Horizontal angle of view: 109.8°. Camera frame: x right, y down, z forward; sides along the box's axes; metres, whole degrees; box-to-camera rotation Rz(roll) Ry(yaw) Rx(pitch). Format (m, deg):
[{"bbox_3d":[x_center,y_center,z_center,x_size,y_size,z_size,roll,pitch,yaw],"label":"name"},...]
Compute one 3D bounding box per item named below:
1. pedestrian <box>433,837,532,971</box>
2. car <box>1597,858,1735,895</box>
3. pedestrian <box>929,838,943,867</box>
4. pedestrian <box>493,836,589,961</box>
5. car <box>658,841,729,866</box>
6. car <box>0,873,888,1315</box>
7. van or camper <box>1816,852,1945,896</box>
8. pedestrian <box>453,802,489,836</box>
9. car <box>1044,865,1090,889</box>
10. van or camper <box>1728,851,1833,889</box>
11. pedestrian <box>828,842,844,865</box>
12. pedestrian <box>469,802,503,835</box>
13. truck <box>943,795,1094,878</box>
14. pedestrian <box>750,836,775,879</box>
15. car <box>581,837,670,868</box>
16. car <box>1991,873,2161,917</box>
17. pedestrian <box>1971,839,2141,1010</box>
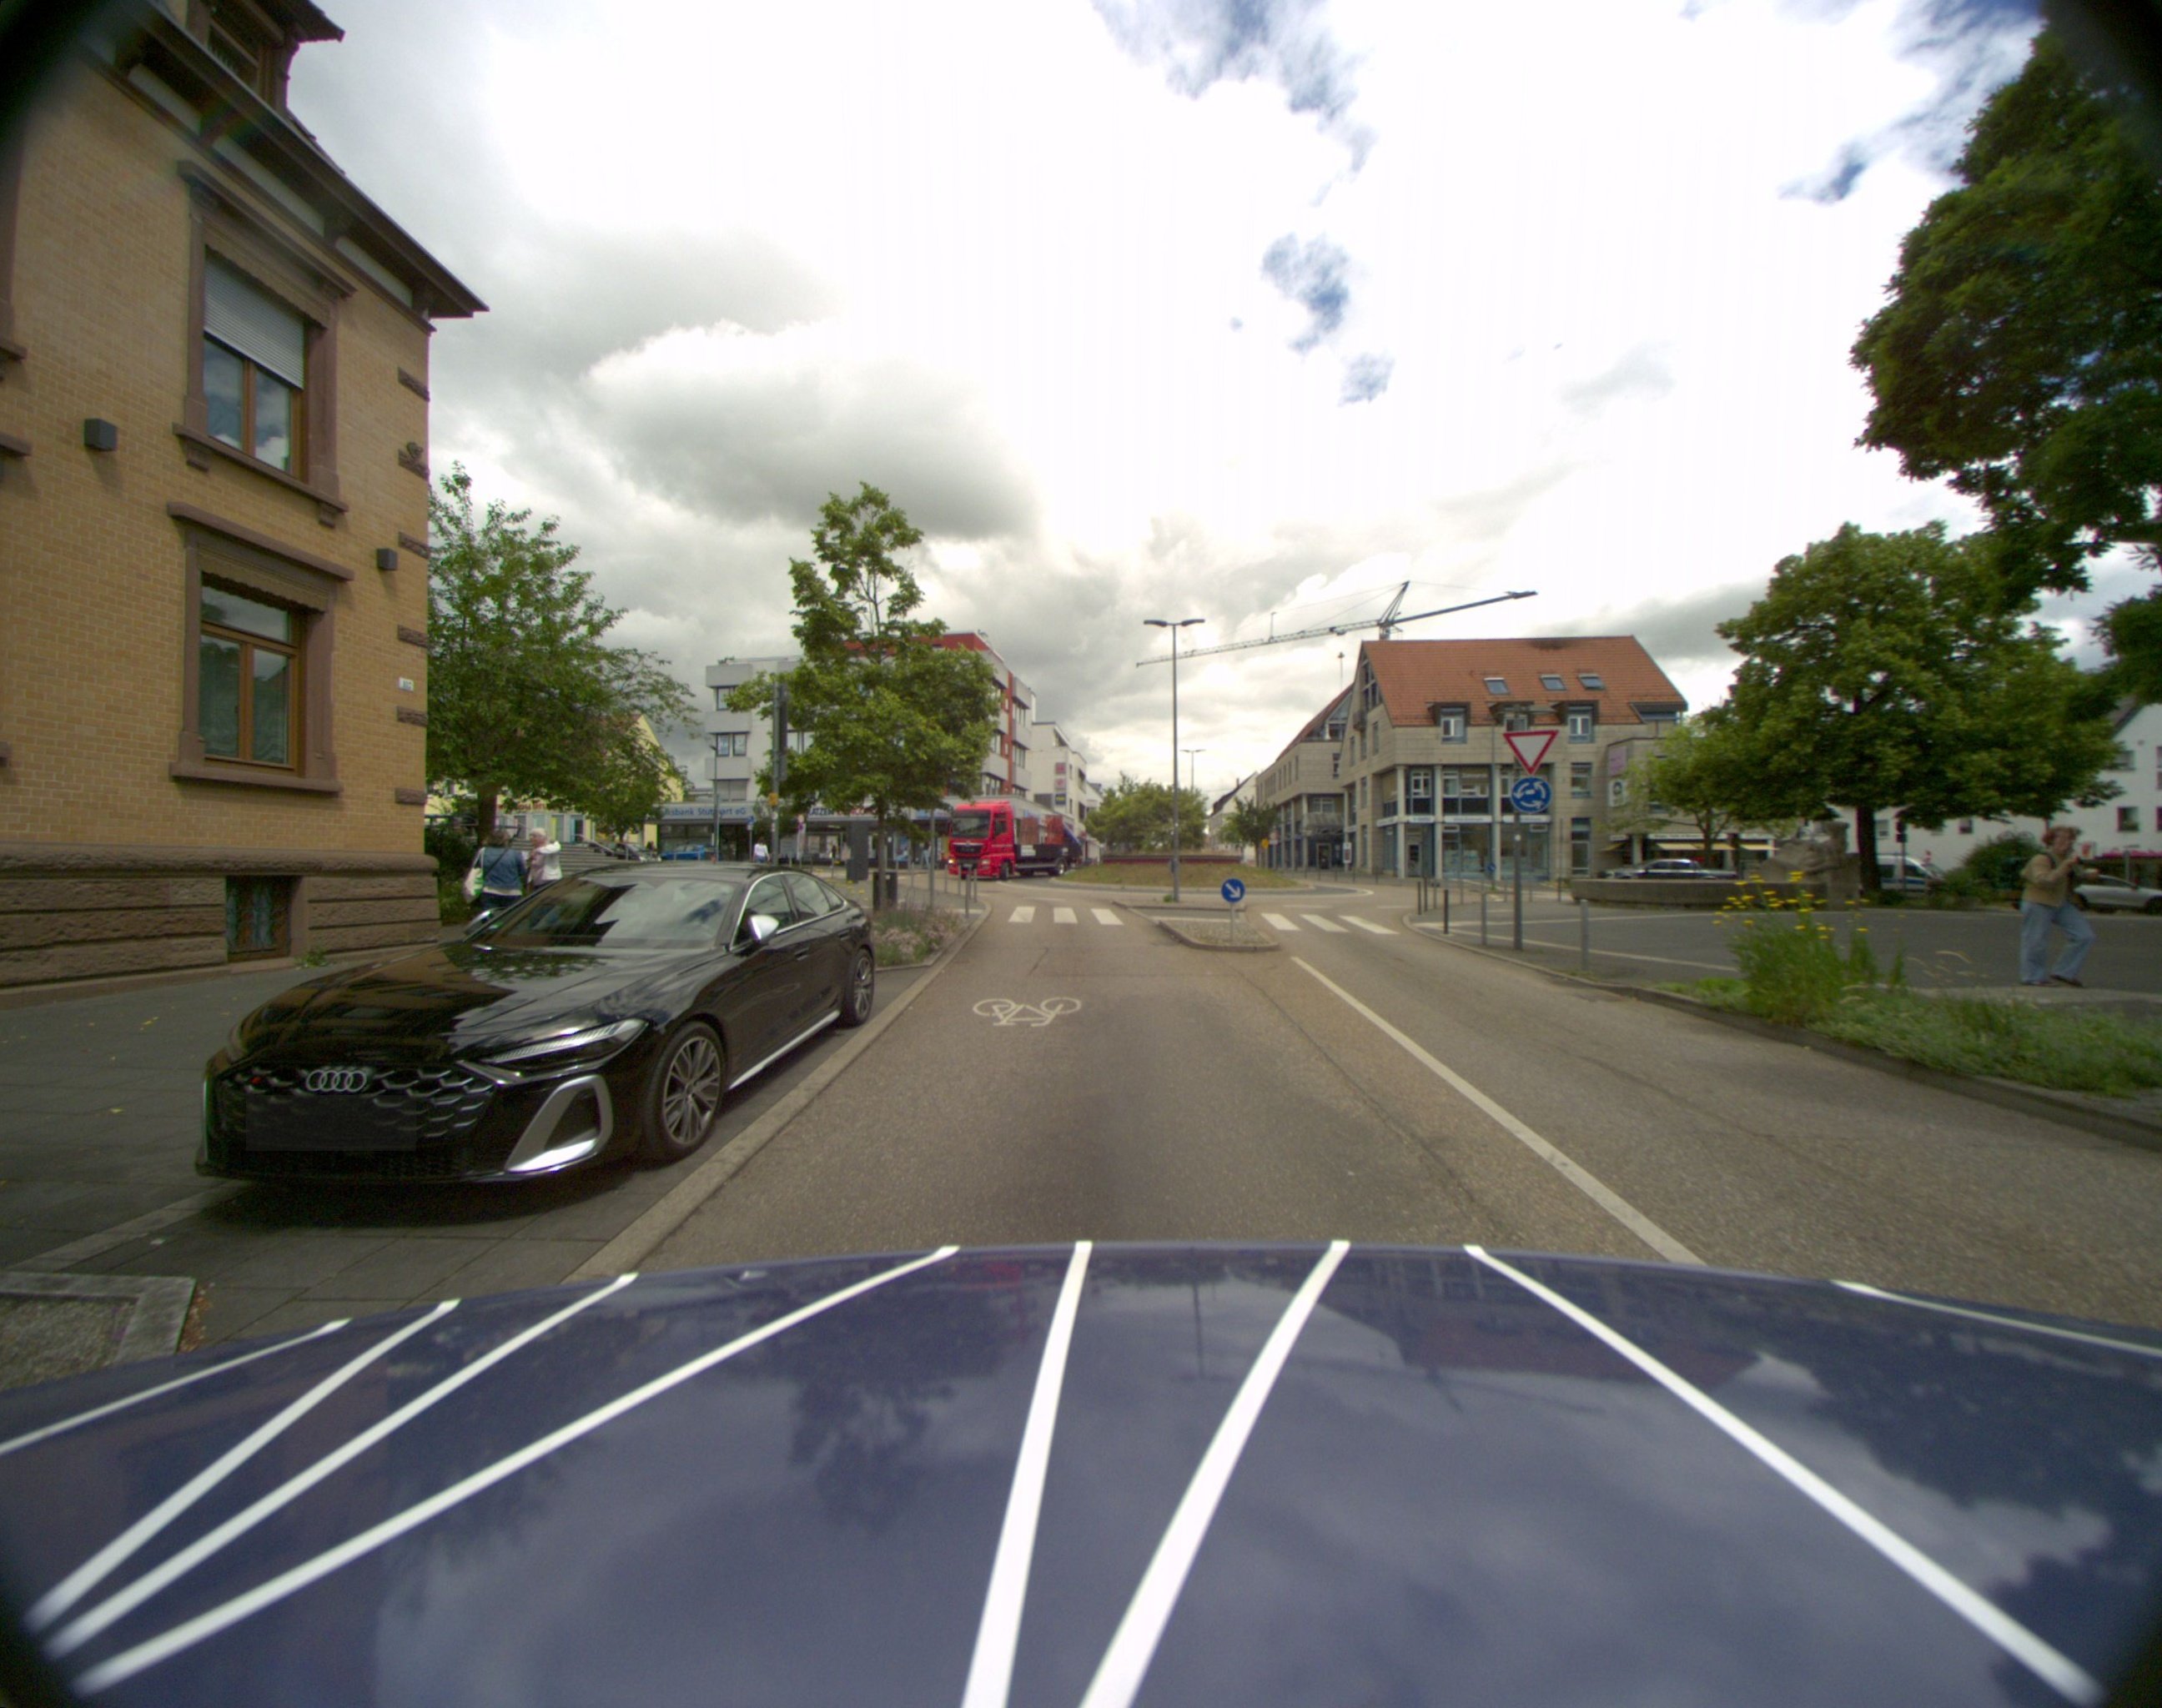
[{"bbox_3d":[-7.645,0.608,9.720,0.738,1.630,0.676,0,2,26],"label":"pedestrian"},{"bbox_3d":[27.738,1.078,36.208,4.882,1.644,1.748,-1,2,16],"label":"car"},{"bbox_3d":[-9.623,-0.121,50.496,0.684,1.902,0.767,-1,2,10],"label":"pedestrian"},{"bbox_3d":[-7.411,0.585,10.450,0.697,1.649,0.741,-1,2,12],"label":"pedestrian"},{"bbox_3d":[-25.692,-0.026,50.464,3.825,1.554,1.820,-1,1,11],"label":"car"},{"bbox_3d":[-2.916,0.914,5.062,1.998,1.405,4.736,0,0,1],"label":"car"},{"bbox_3d":[45.645,1.103,43.516,2.002,2.368,4.666,0,0,-23],"label":"van or camper"},{"bbox_3d":[-23.921,-1.362,29.809,0.694,1.318,0.764,-1,2,6],"label":"pedestrian"},{"bbox_3d":[-0.904,1.501,50.523,1.813,1.391,4.058,-1,1,18],"label":"car"},{"bbox_3d":[45.859,1.007,49.930,2.002,2.368,4.666,0,0,-23],"label":"van or camper"},{"bbox_3d":[-17.019,-0.030,52.801,0.684,1.574,0.767,-1,2,10],"label":"pedestrian"},{"bbox_3d":[-24.011,-1.422,30.671,0.694,1.318,0.764,-1,2,6],"label":"pedestrian"},{"bbox_3d":[-2.880,-0.923,40.270,2.676,3.821,10.865,0,1,27],"label":"truck"},{"bbox_3d":[-12.983,0.116,30.964,0.768,1.721,0.751,-2,2,-32],"label":"pedestrian"},{"bbox_3d":[-26.298,-0.098,43.969,3.995,1.641,2.001,-1,0,6],"label":"car"},{"bbox_3d":[37.881,1.550,28.876,4.070,1.530,1.747,-1,1,8],"label":"car"},{"bbox_3d":[9.778,0.682,7.658,0.661,1.619,0.800,-1,-1,8],"label":"pedestrian"}]
